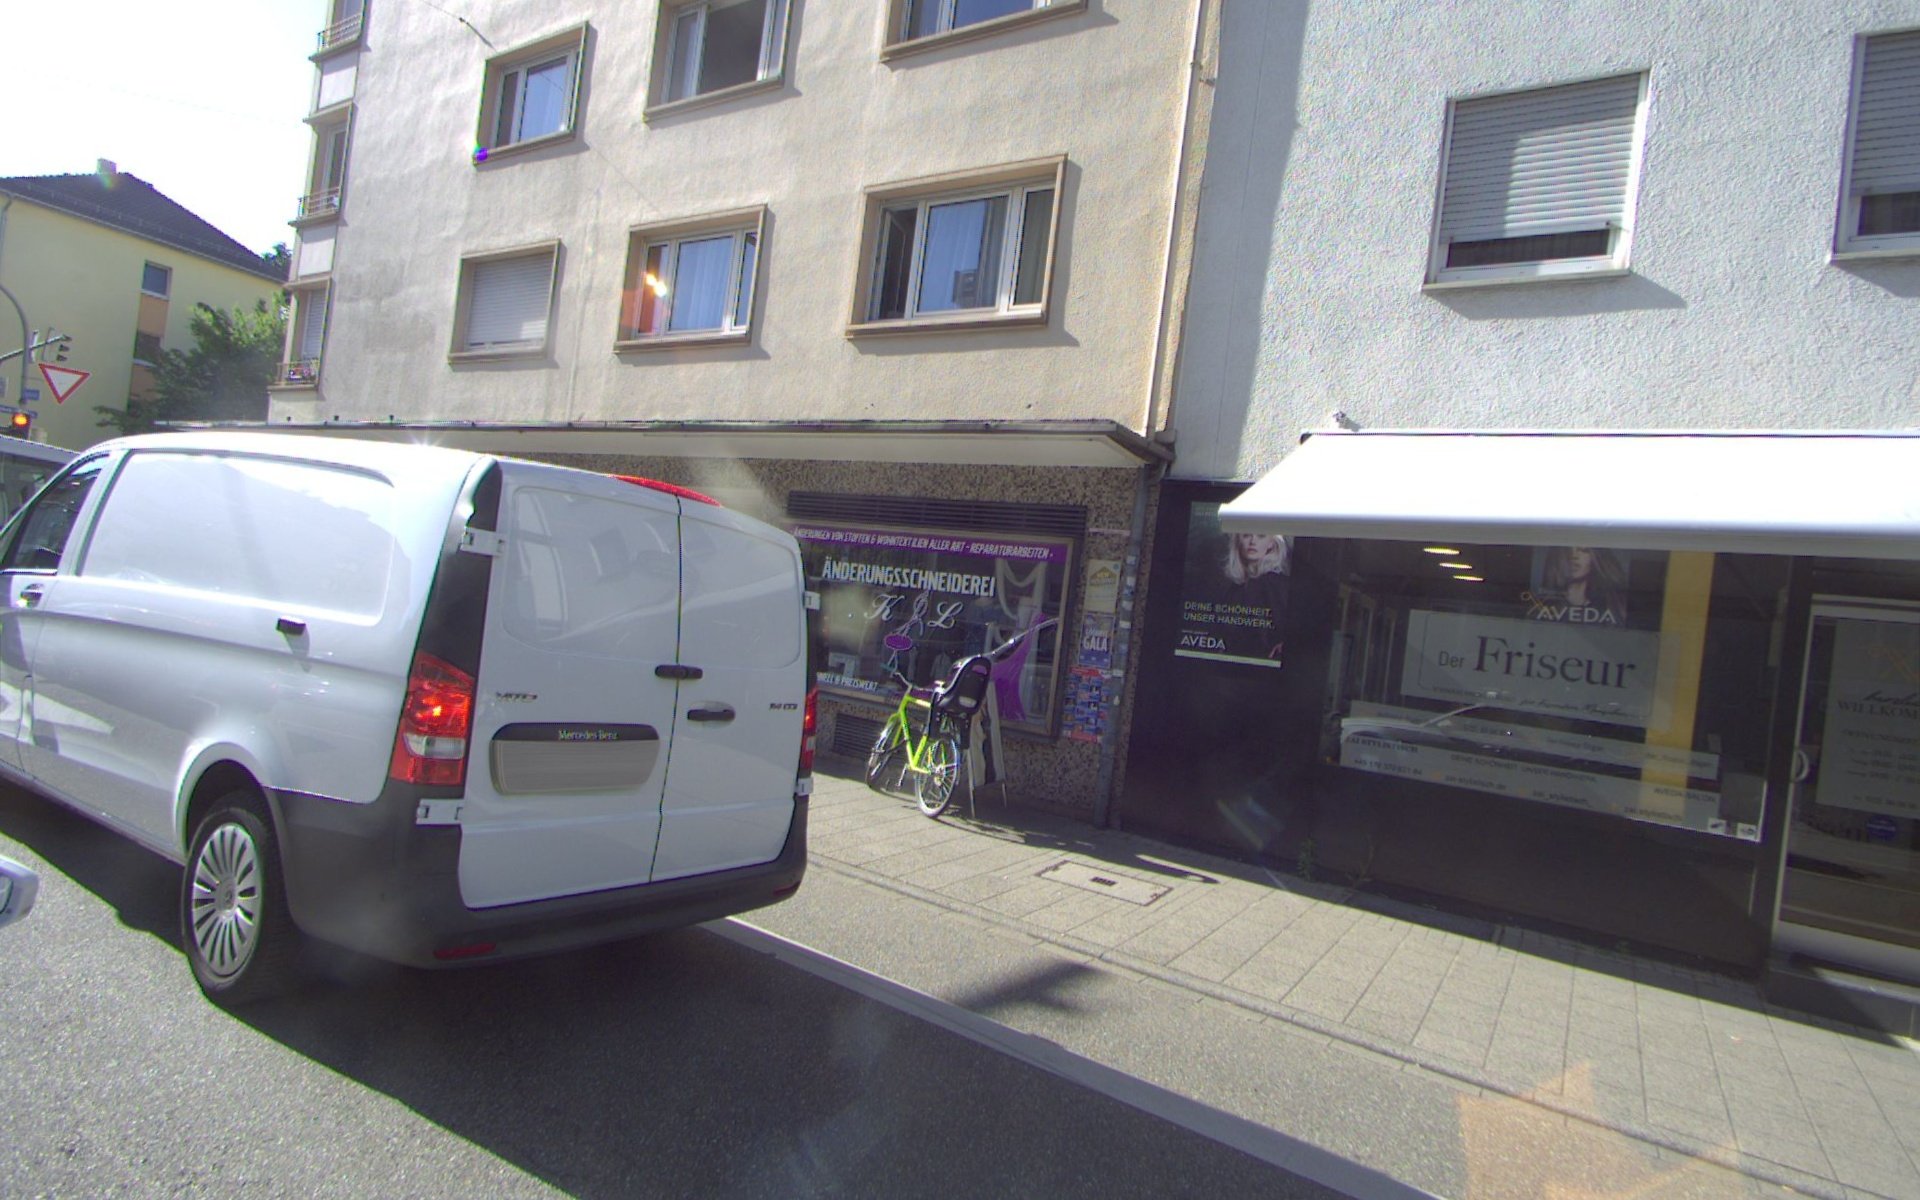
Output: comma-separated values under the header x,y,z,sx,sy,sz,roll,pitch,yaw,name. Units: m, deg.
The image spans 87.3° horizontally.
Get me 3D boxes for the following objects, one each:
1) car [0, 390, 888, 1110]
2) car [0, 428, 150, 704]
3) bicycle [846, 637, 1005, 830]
x,y,z,sx,sy,sz,roll,pitch,yaw,name
-2.977,0.258,4.704,4.913,1.889,1.842,7,-4,32,car
-9.161,-0.507,8.550,4.816,2.002,1.997,7,-2,33,car
-0.336,1.029,8.260,0.434,1.266,1.746,5,1,-29,bicycle
